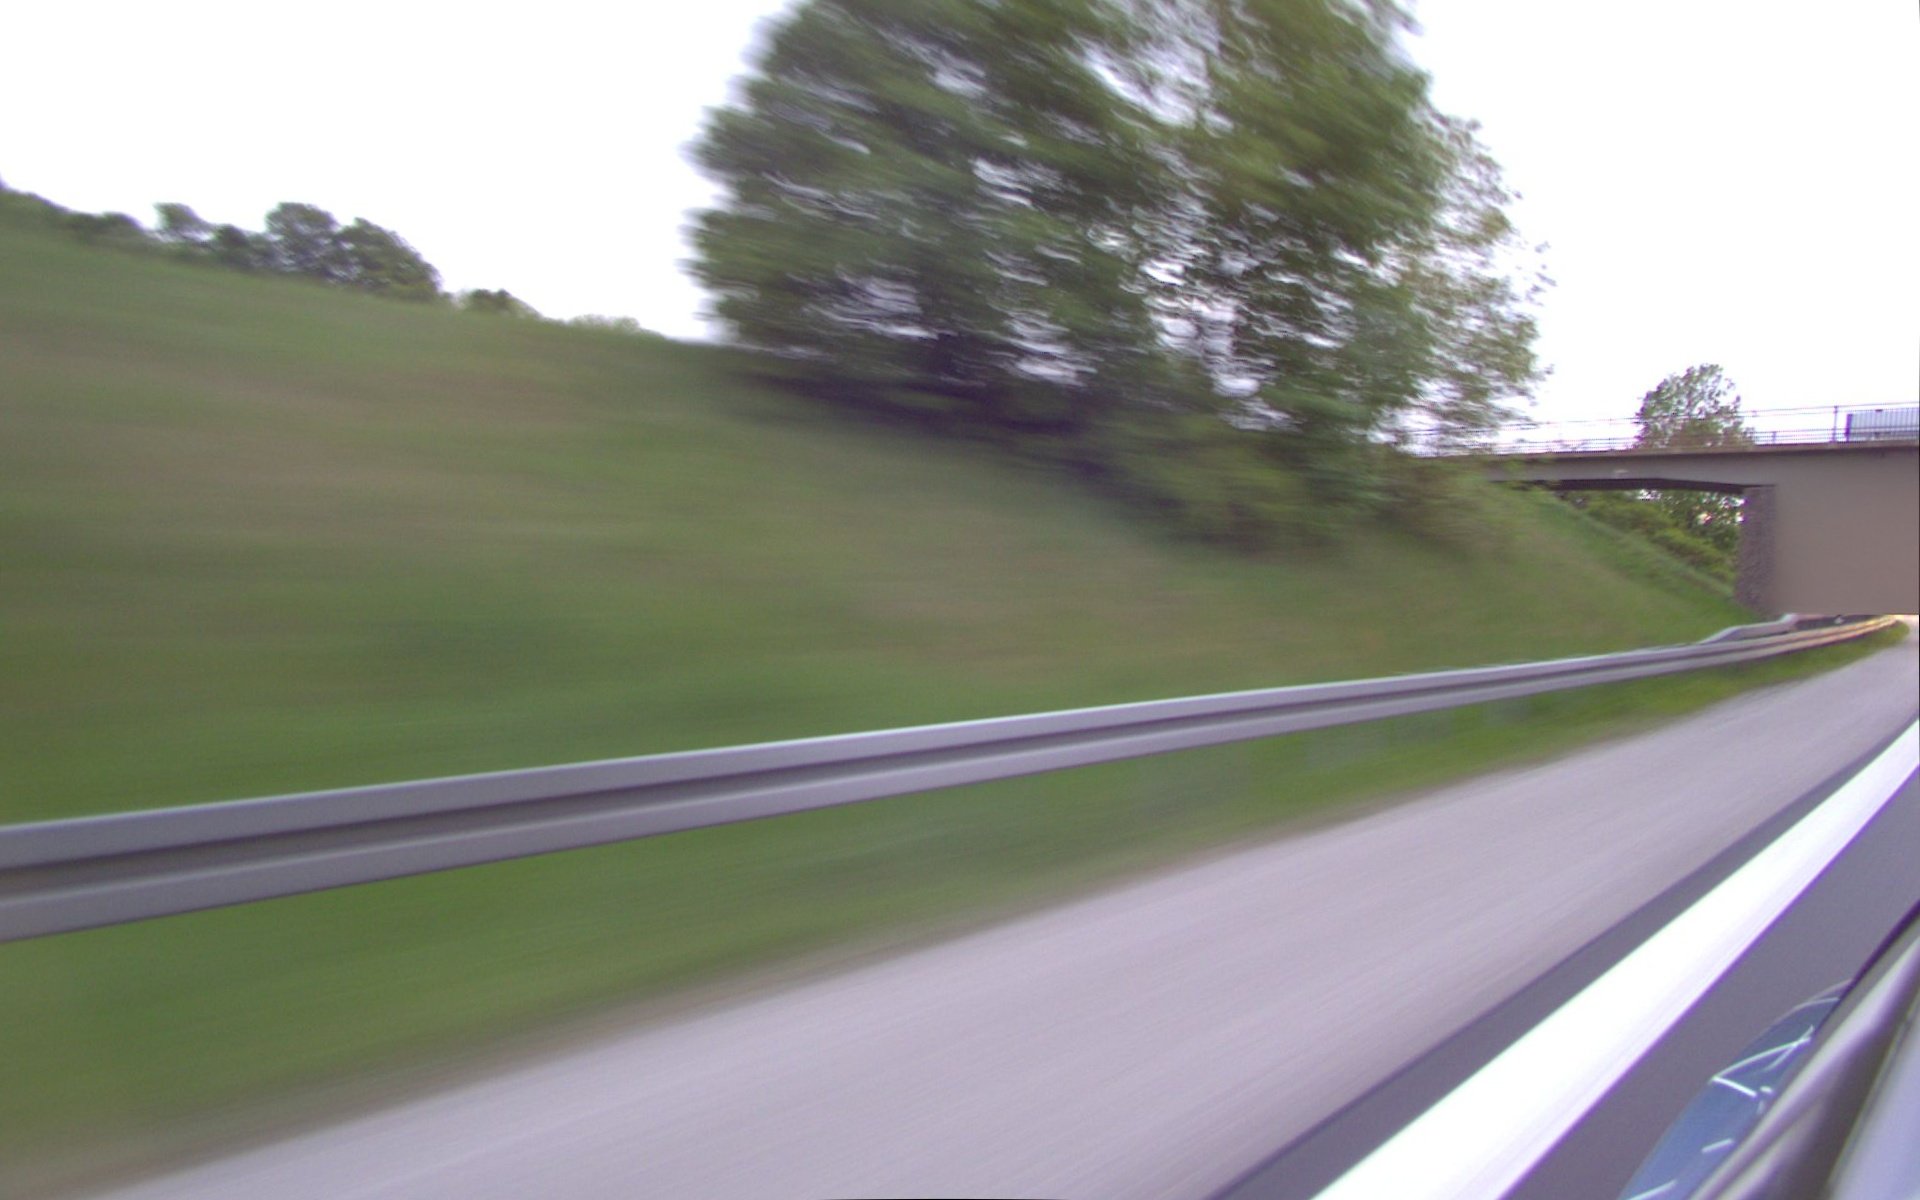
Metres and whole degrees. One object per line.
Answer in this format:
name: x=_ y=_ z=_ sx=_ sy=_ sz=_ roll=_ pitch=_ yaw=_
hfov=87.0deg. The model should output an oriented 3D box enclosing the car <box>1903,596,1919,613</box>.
car: x=105.409 y=0.526 z=111.415 sx=1.912 sy=1.860 sz=3.942 roll=4 pitch=2 yaw=39
